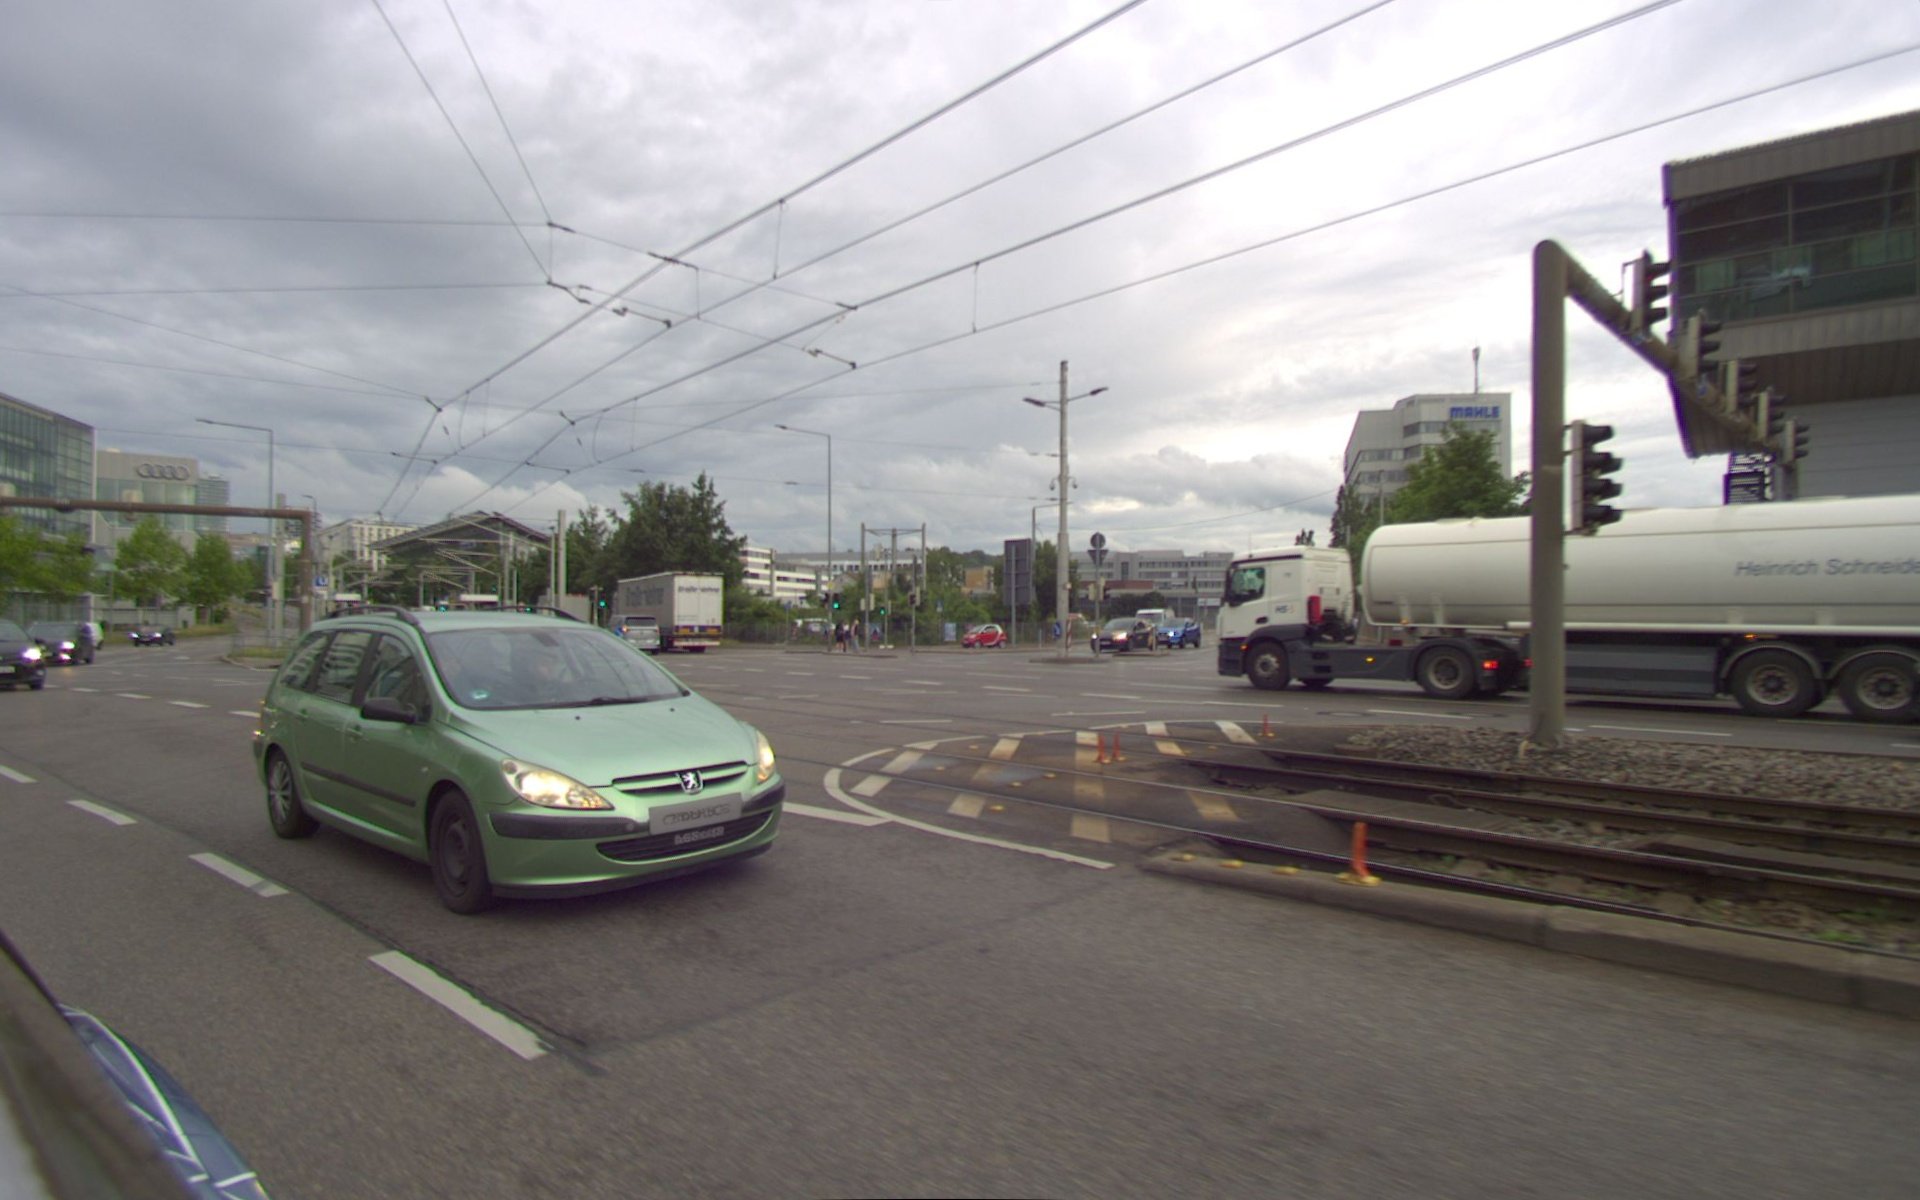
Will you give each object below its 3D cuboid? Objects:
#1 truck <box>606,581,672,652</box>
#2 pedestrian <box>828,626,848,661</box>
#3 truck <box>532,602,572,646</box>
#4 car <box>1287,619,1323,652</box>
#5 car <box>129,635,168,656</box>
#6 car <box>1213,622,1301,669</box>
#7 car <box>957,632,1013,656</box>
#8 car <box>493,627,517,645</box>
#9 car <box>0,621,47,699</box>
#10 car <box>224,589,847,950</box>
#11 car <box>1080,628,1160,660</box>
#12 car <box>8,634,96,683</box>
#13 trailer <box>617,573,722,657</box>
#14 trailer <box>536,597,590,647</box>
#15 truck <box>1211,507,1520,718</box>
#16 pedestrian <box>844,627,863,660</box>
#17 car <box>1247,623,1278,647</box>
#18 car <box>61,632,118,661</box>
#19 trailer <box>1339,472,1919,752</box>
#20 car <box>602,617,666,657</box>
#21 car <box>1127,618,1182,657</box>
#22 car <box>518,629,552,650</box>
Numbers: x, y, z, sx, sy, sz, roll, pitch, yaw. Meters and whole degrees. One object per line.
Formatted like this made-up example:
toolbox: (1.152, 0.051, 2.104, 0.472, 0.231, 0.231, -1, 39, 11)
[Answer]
truck: (-19.759, 1.043, 62.113, 2.629, 4.161, 6.205, 1, -2, -29)
pedestrian: (-6.203, 2.219, 51.487, 0.716, 1.718, 0.741, -1, -1, -33)
truck: (-38.777, 2.291, 96.096, 2.792, 4.026, 6.004, 1, -2, -30)
car: (19.951, 2.046, 58.517, 1.842, 1.698, 3.974, -2, 0, 20)
car: (-63.577, 3.553, 79.324, 1.673, 1.534, 3.837, 0, 0, -28)
car: (11.815, 1.774, 40.634, 1.971, 1.621, 4.646, -2, 0, -2)
car: (1.582, 2.757, 63.927, 3.259, 1.447, 1.459, 0, 0, -18)
car: (-45.500, 3.592, 101.130, 1.861, 1.664, 4.108, -2, 0, -29)
car: (-20.438, 1.228, 20.936, 3.899, 1.534, 1.676, -2, -3, 39)
car: (-2.859, 0.749, 6.270, 4.399, 1.479, 1.678, -2, 0, 39)
car: (7.569, 2.063, 47.639, 1.998, 1.412, 3.946, -2, -2, 40)
car: (-33.146, 2.096, 37.062, 1.703, 1.604, 4.204, -2, -1, -33)
trailer: (-16.306, 0.882, 56.012, 2.613, 4.156, 12.784, 1, -2, -30)
trailer: (-35.750, 2.075, 90.822, 2.755, 4.139, 11.476, 1, -3, -30)
truck: (8.377, 0.316, 21.301, 2.712, 3.834, 5.418, 3, -3, -42)
pedestrian: (-5.528, 2.237, 52.379, 0.716, 1.675, 0.741, -1, -1, -33)
car: (20.689, 2.389, 69.291, 1.983, 1.621, 4.430, -1, -2, 17)
car: (-57.340, 3.049, 66.721, 1.799, 1.723, 4.167, -2, 0, -26)
trailer: (12.352, 0.250, 16.973, 2.692, 3.884, 11.240, 3, -3, -43)
car: (-15.806, 1.815, 48.950, 1.966, 1.851, 4.923, 1, -3, -30)
car: (12.719, 2.386, 66.031, 2.278, 2.301, 4.703, -2, 0, 26)
car: (-34.837, 3.199, 82.864, 1.877, 1.567, 4.579, -2, 0, -31)
